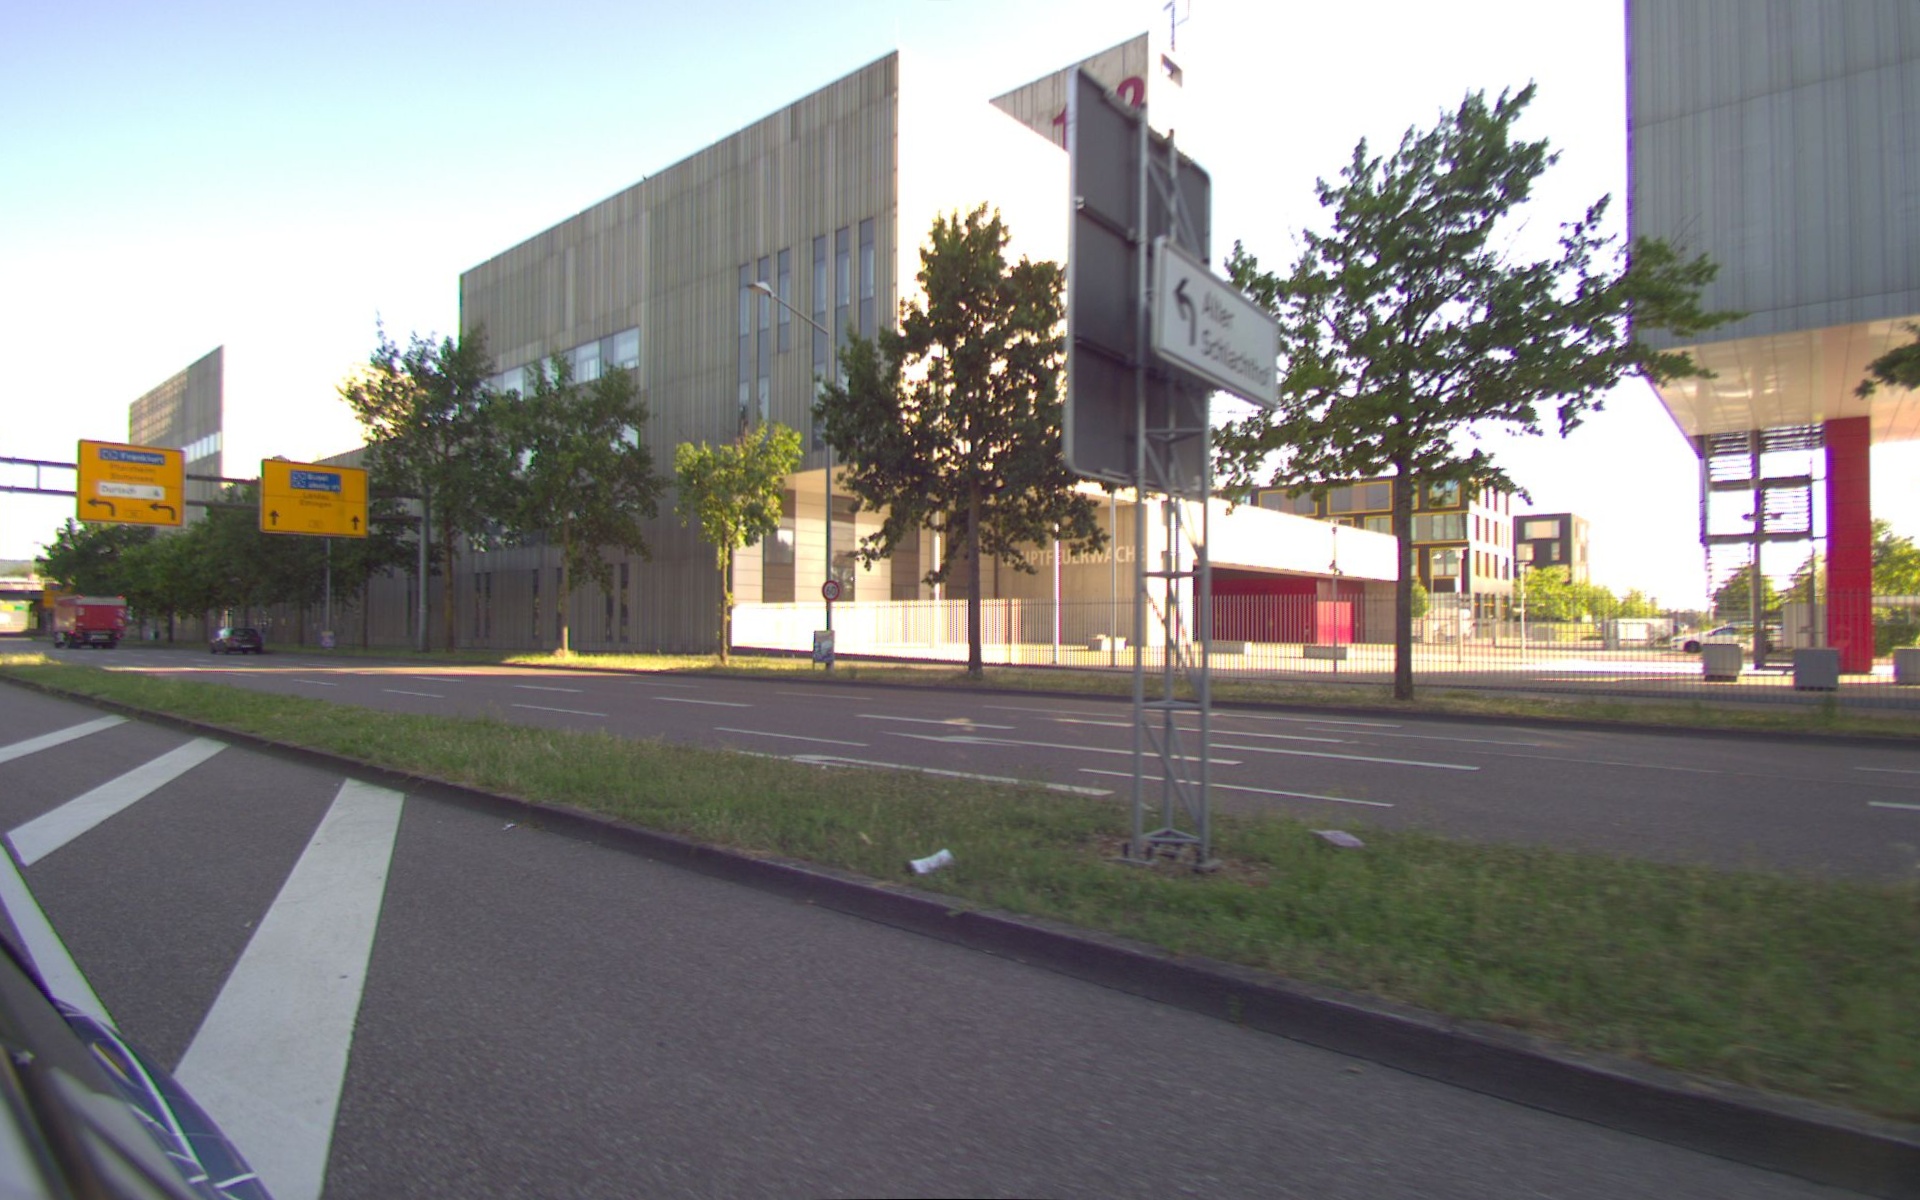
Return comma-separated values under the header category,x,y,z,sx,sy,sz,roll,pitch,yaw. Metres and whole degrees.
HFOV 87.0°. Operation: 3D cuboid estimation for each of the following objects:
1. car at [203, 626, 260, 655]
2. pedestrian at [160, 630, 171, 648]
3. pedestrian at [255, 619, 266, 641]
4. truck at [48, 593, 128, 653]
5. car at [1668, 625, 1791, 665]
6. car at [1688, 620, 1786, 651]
category,x,y,z,sx,sy,sz,roll,pitch,yaw
car,-39.926,2.217,55.432,3.862,1.524,1.580,-1,-2,39
pedestrian,-72.730,3.570,92.657,0.725,1.641,0.689,-2,-2,41
pedestrian,-56.649,2.453,81.913,0.649,1.781,0.596,-2,-2,42
truck,-59.399,1.577,68.813,10.088,3.840,2.965,-2,-2,43
car,38.181,2.175,50.290,4.782,1.889,1.886,-1,-2,40
car,45.880,2.071,59.800,4.503,1.764,1.886,-1,-2,40
